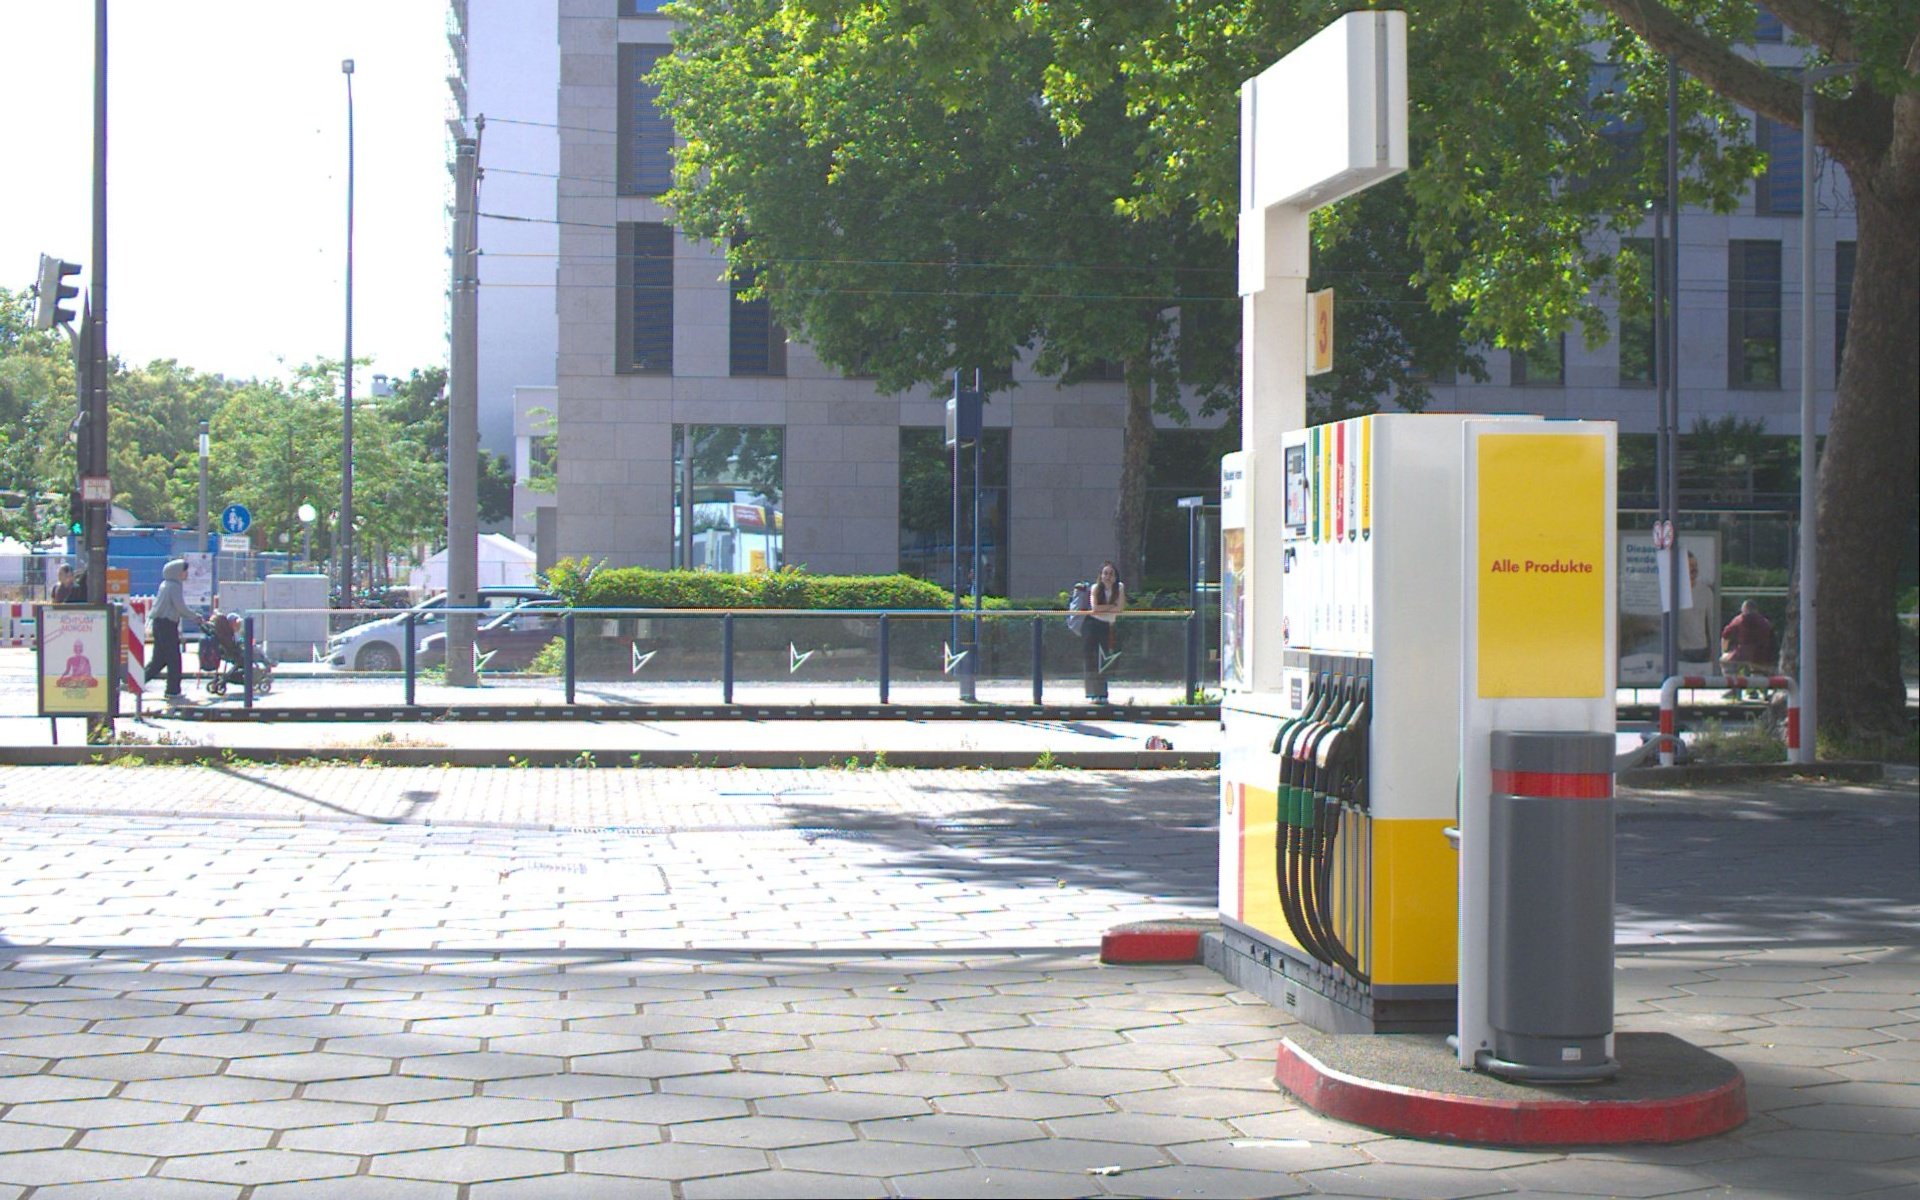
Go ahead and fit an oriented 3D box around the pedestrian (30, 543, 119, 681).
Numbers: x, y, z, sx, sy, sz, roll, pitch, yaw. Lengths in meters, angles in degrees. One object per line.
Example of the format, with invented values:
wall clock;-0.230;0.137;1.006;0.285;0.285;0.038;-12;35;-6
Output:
pedestrian;-10.869;0.144;42.201;0.932;1.677;0.503;1;0;4

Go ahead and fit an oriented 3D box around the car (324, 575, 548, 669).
car;-8.971;0.369;58.756;3.681;1.547;1.592;0;0;-12

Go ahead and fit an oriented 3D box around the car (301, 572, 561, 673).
car;-8.424;0.353;54.669;3.986;1.547;1.704;0;0;-12

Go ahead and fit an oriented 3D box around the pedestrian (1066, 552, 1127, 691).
pedestrian;1.590;0.245;40.052;0.584;1.586;0.670;0;2;-7

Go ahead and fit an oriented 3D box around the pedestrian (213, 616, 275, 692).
pedestrian;-8.405;0.631;40.359;0.690;0.877;0.503;0;0;-13

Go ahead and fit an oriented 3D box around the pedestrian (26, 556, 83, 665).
pedestrian;-12.866;0.150;48.872;0.650;1.535;0.503;1;0;3

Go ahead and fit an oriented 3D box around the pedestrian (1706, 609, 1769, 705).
pedestrian;9.301;0.681;41.123;0.628;1.134;0.524;0;0;0

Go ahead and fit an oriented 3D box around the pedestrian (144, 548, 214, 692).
pedestrian;-9.132;0.232;40.204;0.776;1.677;0.503;0;0;-14
